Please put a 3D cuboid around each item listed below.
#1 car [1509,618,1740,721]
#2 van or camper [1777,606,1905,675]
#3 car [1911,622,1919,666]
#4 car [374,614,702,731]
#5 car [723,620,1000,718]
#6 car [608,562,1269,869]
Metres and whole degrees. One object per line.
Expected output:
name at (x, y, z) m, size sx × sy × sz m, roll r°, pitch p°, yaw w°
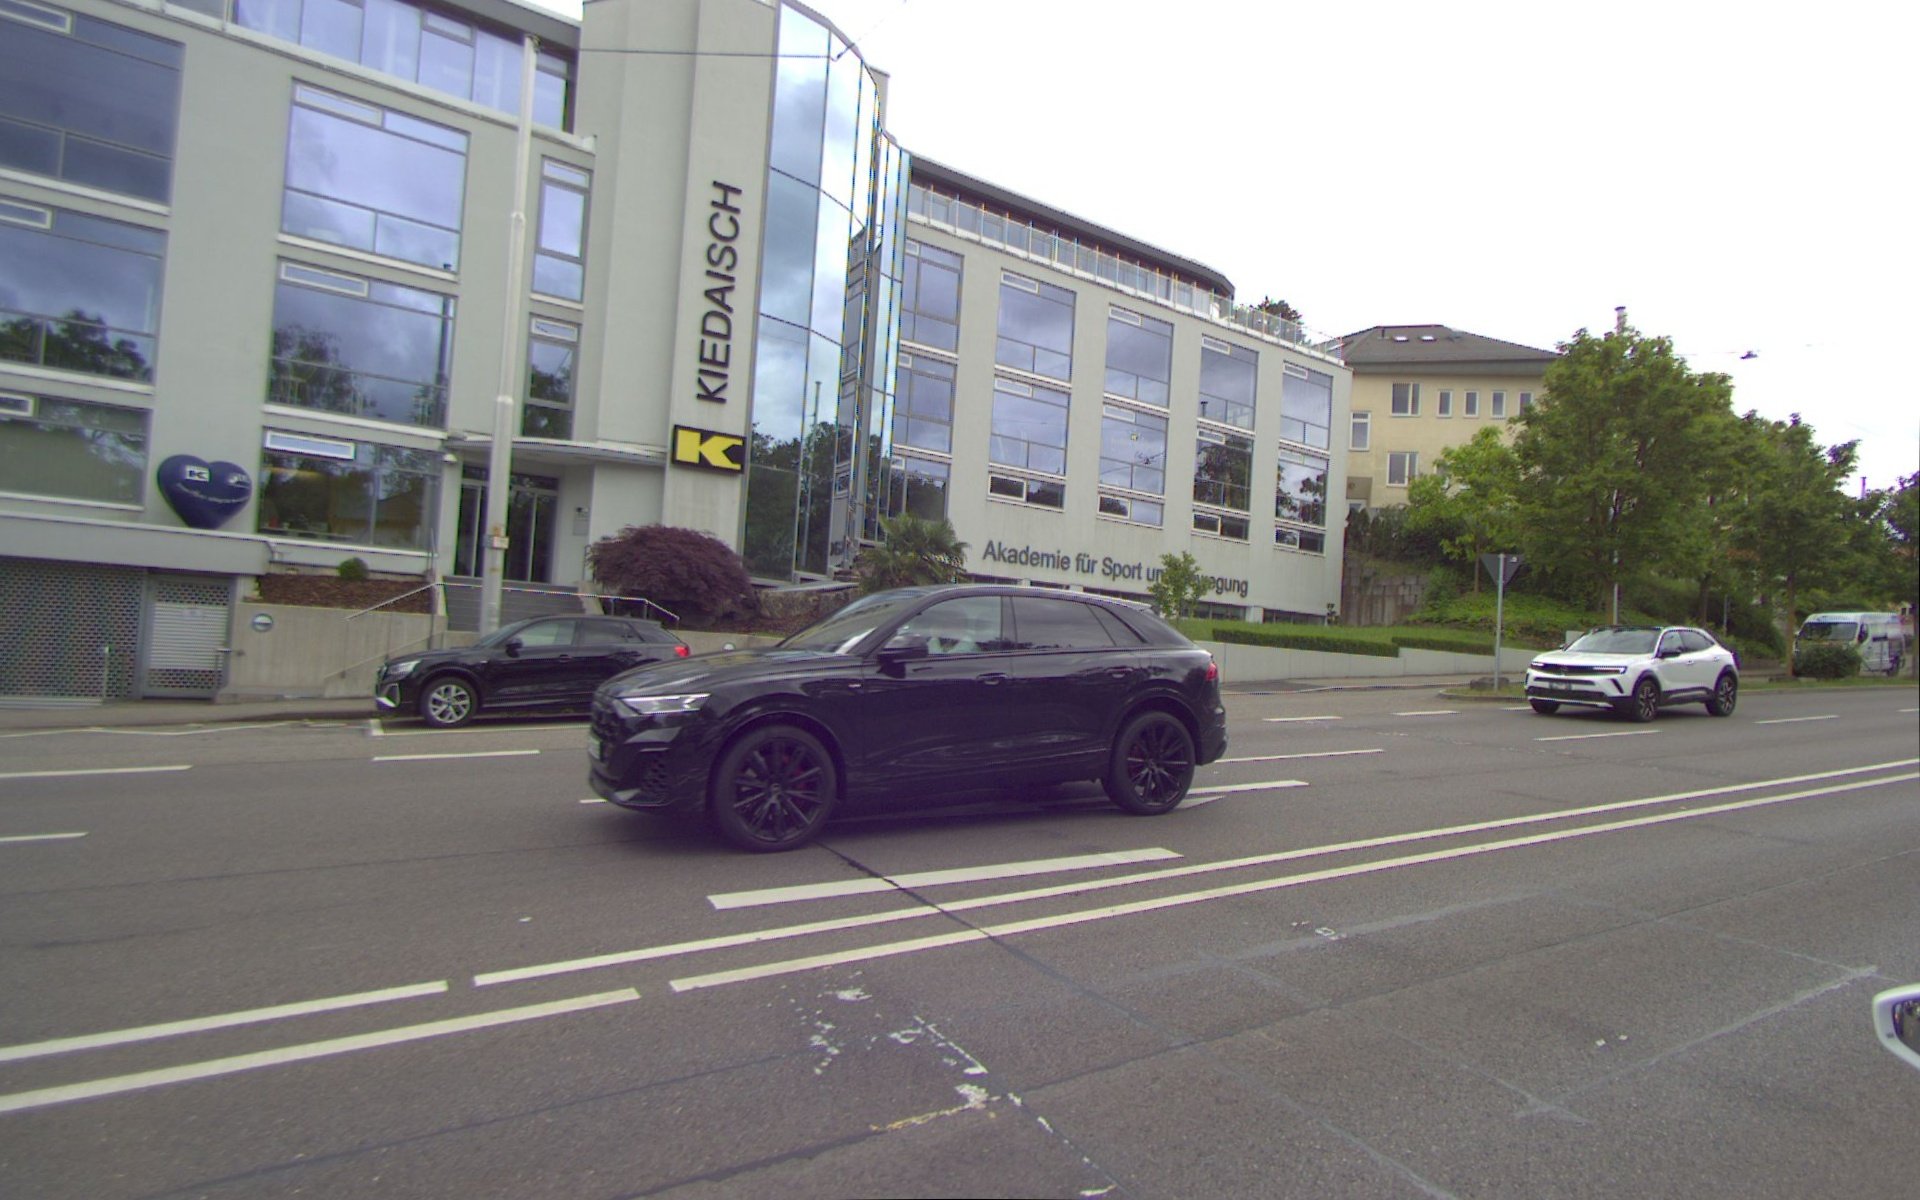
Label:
car at (11.420, 1.135, 17.229) m, size 3.876 × 1.562 × 1.792 m, roll 2°, pitch -1°, yaw -30°
van or camper at (34.311, 1.587, 39.088) m, size 5.640 × 2.505 × 1.985 m, roll 2°, pitch -2°, yaw -29°
car at (52.086, 2.348, 53.109) m, size 6.282 × 2.303 × 2.246 m, roll 2°, pitch -2°, yaw -43°
car at (-5.880, 0.965, 14.146) m, size 4.042 × 1.447 × 1.665 m, roll 2°, pitch -2°, yaw -30°
car at (-1.589, 1.102, 16.882) m, size 4.371 × 1.447 × 1.663 m, roll 2°, pitch -2°, yaw -33°
car at (-0.049, 0.730, 7.616) m, size 4.705 × 1.725 × 1.840 m, roll 2°, pitch -2°, yaw -29°
